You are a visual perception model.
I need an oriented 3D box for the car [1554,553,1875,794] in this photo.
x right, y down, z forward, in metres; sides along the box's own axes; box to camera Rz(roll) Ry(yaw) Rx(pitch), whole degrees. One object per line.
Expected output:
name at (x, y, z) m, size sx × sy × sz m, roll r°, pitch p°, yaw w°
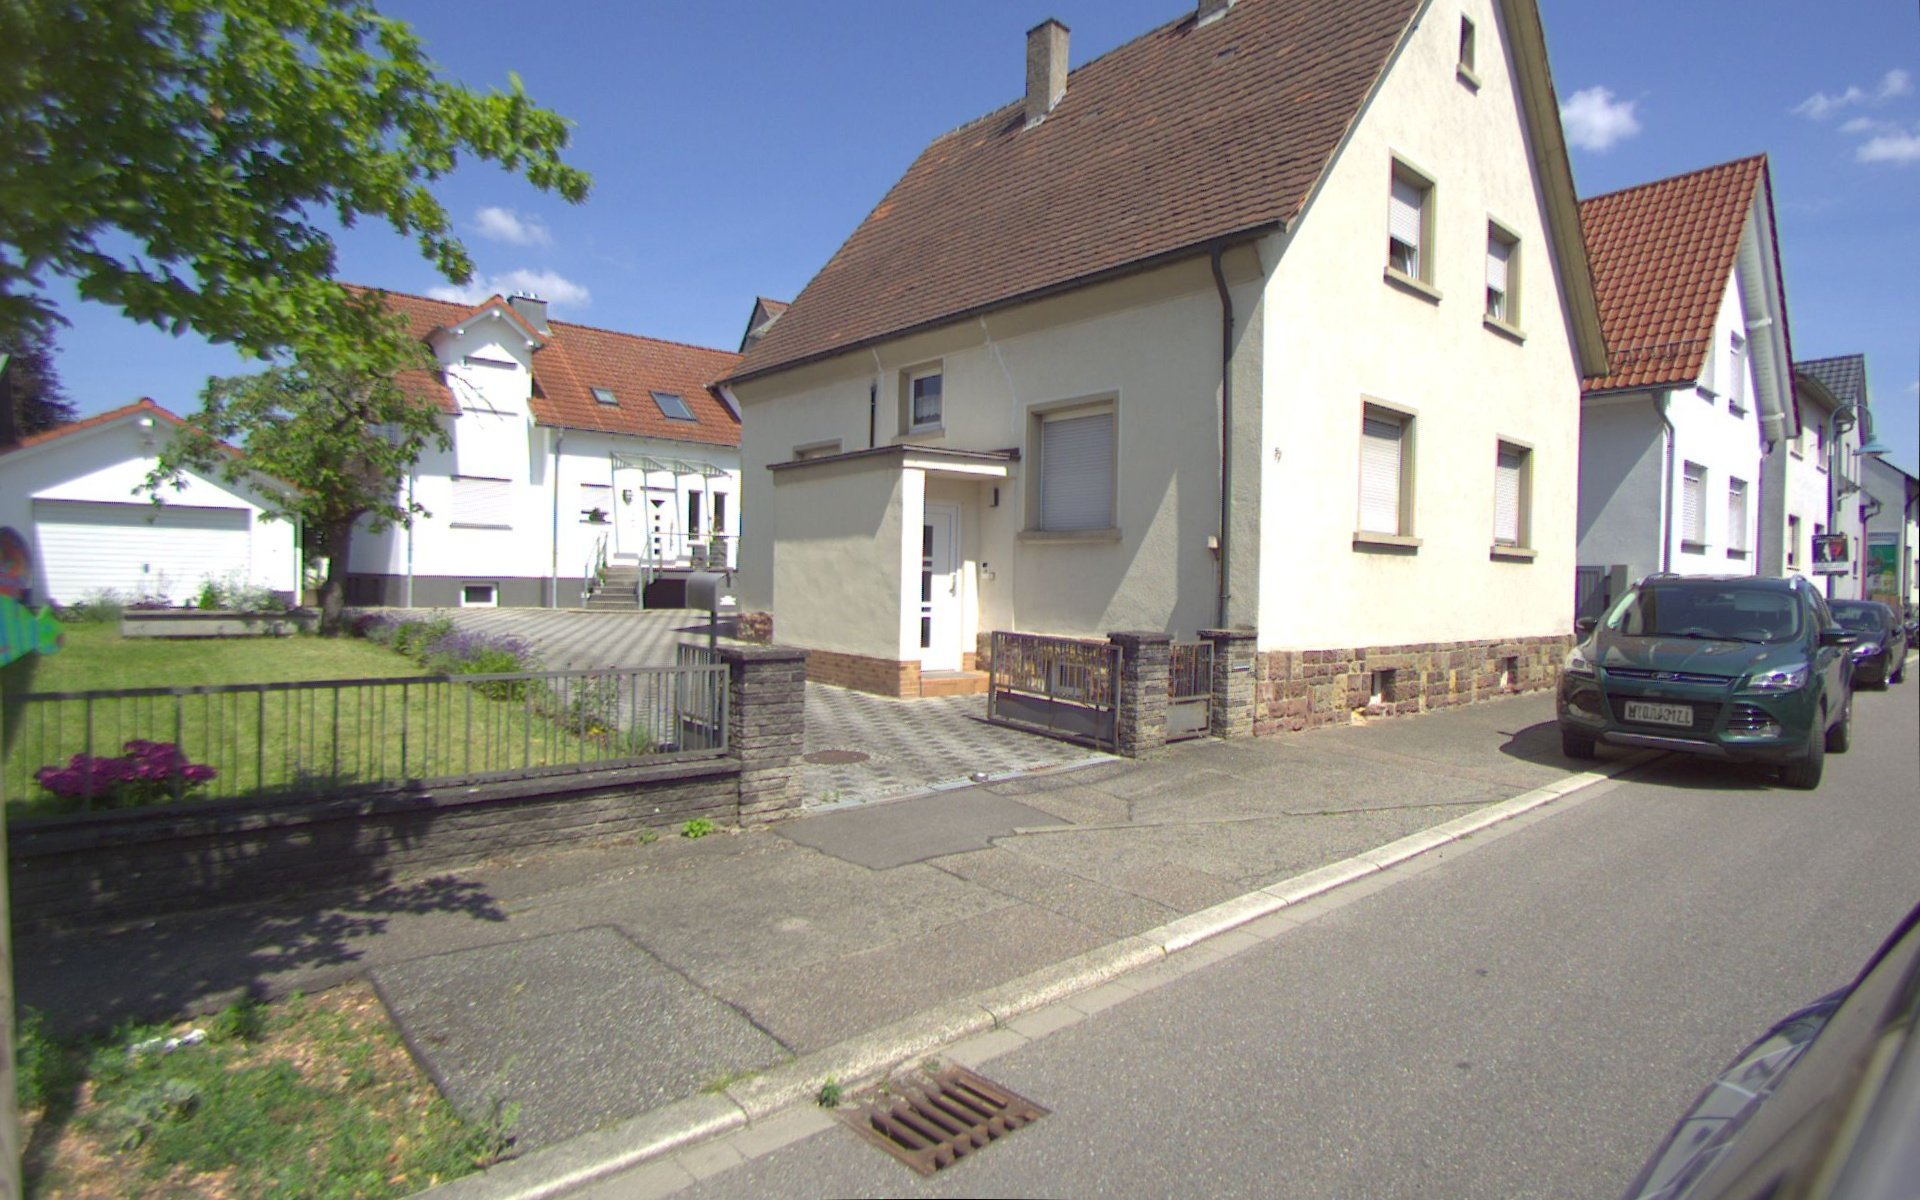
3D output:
car at (7.117, 0.501, 9.366) m, size 4.205 × 1.738 × 1.730 m, roll 0°, pitch 1°, yaw -44°

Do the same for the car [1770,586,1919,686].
car at (16.064, 0.572, 18.249) m, size 3.904 × 1.514 × 1.620 m, roll 0°, pitch 4°, yaw -42°

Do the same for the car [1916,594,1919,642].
car at (30.625, 0.555, 30.973) m, size 3.594 × 1.440 × 1.691 m, roll 0°, pitch 1°, yaw -42°
